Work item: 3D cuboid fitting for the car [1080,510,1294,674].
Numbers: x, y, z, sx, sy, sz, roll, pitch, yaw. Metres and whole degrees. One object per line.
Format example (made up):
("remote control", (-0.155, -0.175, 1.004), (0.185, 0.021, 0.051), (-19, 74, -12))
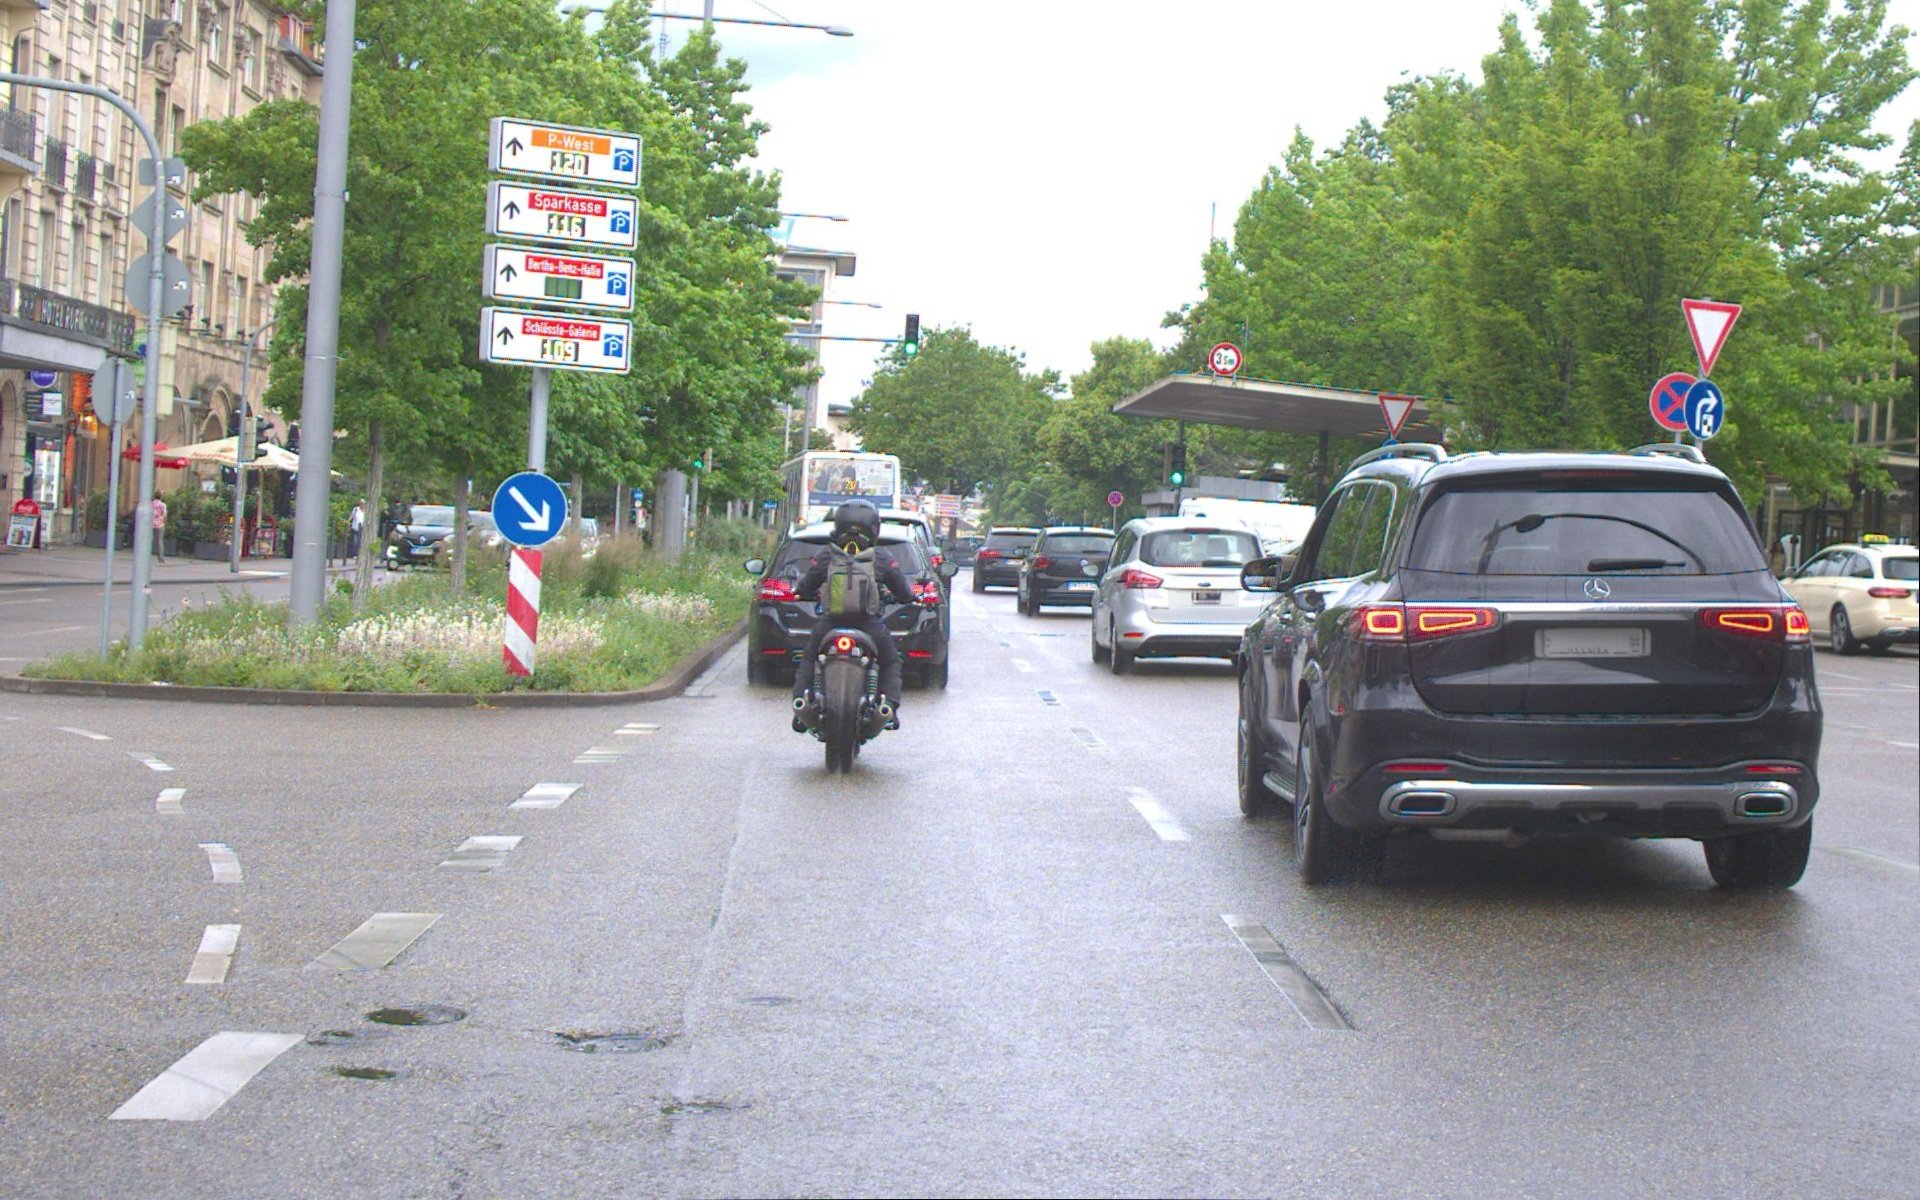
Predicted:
("car", (2.273, -0.125, 35.379), (1.851, 1.561, 4.000), (1, 1, -1))

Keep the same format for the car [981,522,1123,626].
("car", (1.451, -0.451, 55.669), (1.810, 1.576, 3.904), (1, 1, -5))

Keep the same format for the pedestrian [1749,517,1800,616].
("pedestrian", (16.689, -0.699, 70.443), (0.769, 2.007, 0.828), (1, 1, -3))

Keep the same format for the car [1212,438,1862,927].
("car", (2.332, 0.249, 15.211), (1.993, 1.800, 4.690), (1, 1, -1))

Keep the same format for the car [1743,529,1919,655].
("car", (12.515, -0.140, 46.882), (1.993, 1.594, 4.824), (1, 1, -8))

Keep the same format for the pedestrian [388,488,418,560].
("pedestrian", (-15.569, -2.122, 96.087), (0.757, 2.007, 0.833), (1, 1, -7))

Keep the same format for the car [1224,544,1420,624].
("car", (8.926, -0.398, 84.859), (4.335, 1.851, 2.001), (1, 1, -20))

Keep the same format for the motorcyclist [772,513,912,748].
("motorcyclist", (-0.680, 0.167, 20.107), (0.764, 1.327, 0.866), (1, 1, 0))

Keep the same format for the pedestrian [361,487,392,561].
("pedestrian", (-15.883, -2.067, 93.542), (0.757, 2.007, 0.833), (1, 1, -7))

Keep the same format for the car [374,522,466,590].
("car", (-12.504, -1.011, 79.823), (1.771, 1.525, 4.079), (1, 1, -4))

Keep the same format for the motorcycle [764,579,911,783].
("motorcycle", (-0.688, 0.437, 19.980), (0.766, 1.073, 2.175), (1, 1, -1))

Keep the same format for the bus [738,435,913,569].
("bus", (-3.792, -2.577, 91.957), (3.759, 3.198, 15.529), (1, 1, -5))

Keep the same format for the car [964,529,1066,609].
("car", (1.155, -0.688, 74.543), (1.810, 1.637, 3.904), (1, 1, -4))

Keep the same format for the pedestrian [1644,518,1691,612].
("pedestrian", (15.299, -0.770, 74.341), (0.769, 2.007, 0.828), (1, 1, -3))

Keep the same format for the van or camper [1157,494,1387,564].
("van or camper", (9.598, -2.167, 105.478), (6.753, 2.007, 2.386), (1, 1, -26))

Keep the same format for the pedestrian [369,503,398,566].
("pedestrian", (-15.730, -1.800, 93.837), (0.674, 1.696, 0.634), (1, 1, -1))

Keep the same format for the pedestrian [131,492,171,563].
("pedestrian", (-17.441, -1.560, 74.136), (0.661, 1.505, 0.519), (0, 1, -38))

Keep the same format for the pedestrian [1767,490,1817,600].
("pedestrian", (18.474, -1.219, 76.340), (0.843, 2.403, 0.862), (1, 1, 1))

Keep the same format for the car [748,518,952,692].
("car", (-0.960, -0.003, 31.145), (1.708, 1.443, 4.000), (1, 1, -1))
